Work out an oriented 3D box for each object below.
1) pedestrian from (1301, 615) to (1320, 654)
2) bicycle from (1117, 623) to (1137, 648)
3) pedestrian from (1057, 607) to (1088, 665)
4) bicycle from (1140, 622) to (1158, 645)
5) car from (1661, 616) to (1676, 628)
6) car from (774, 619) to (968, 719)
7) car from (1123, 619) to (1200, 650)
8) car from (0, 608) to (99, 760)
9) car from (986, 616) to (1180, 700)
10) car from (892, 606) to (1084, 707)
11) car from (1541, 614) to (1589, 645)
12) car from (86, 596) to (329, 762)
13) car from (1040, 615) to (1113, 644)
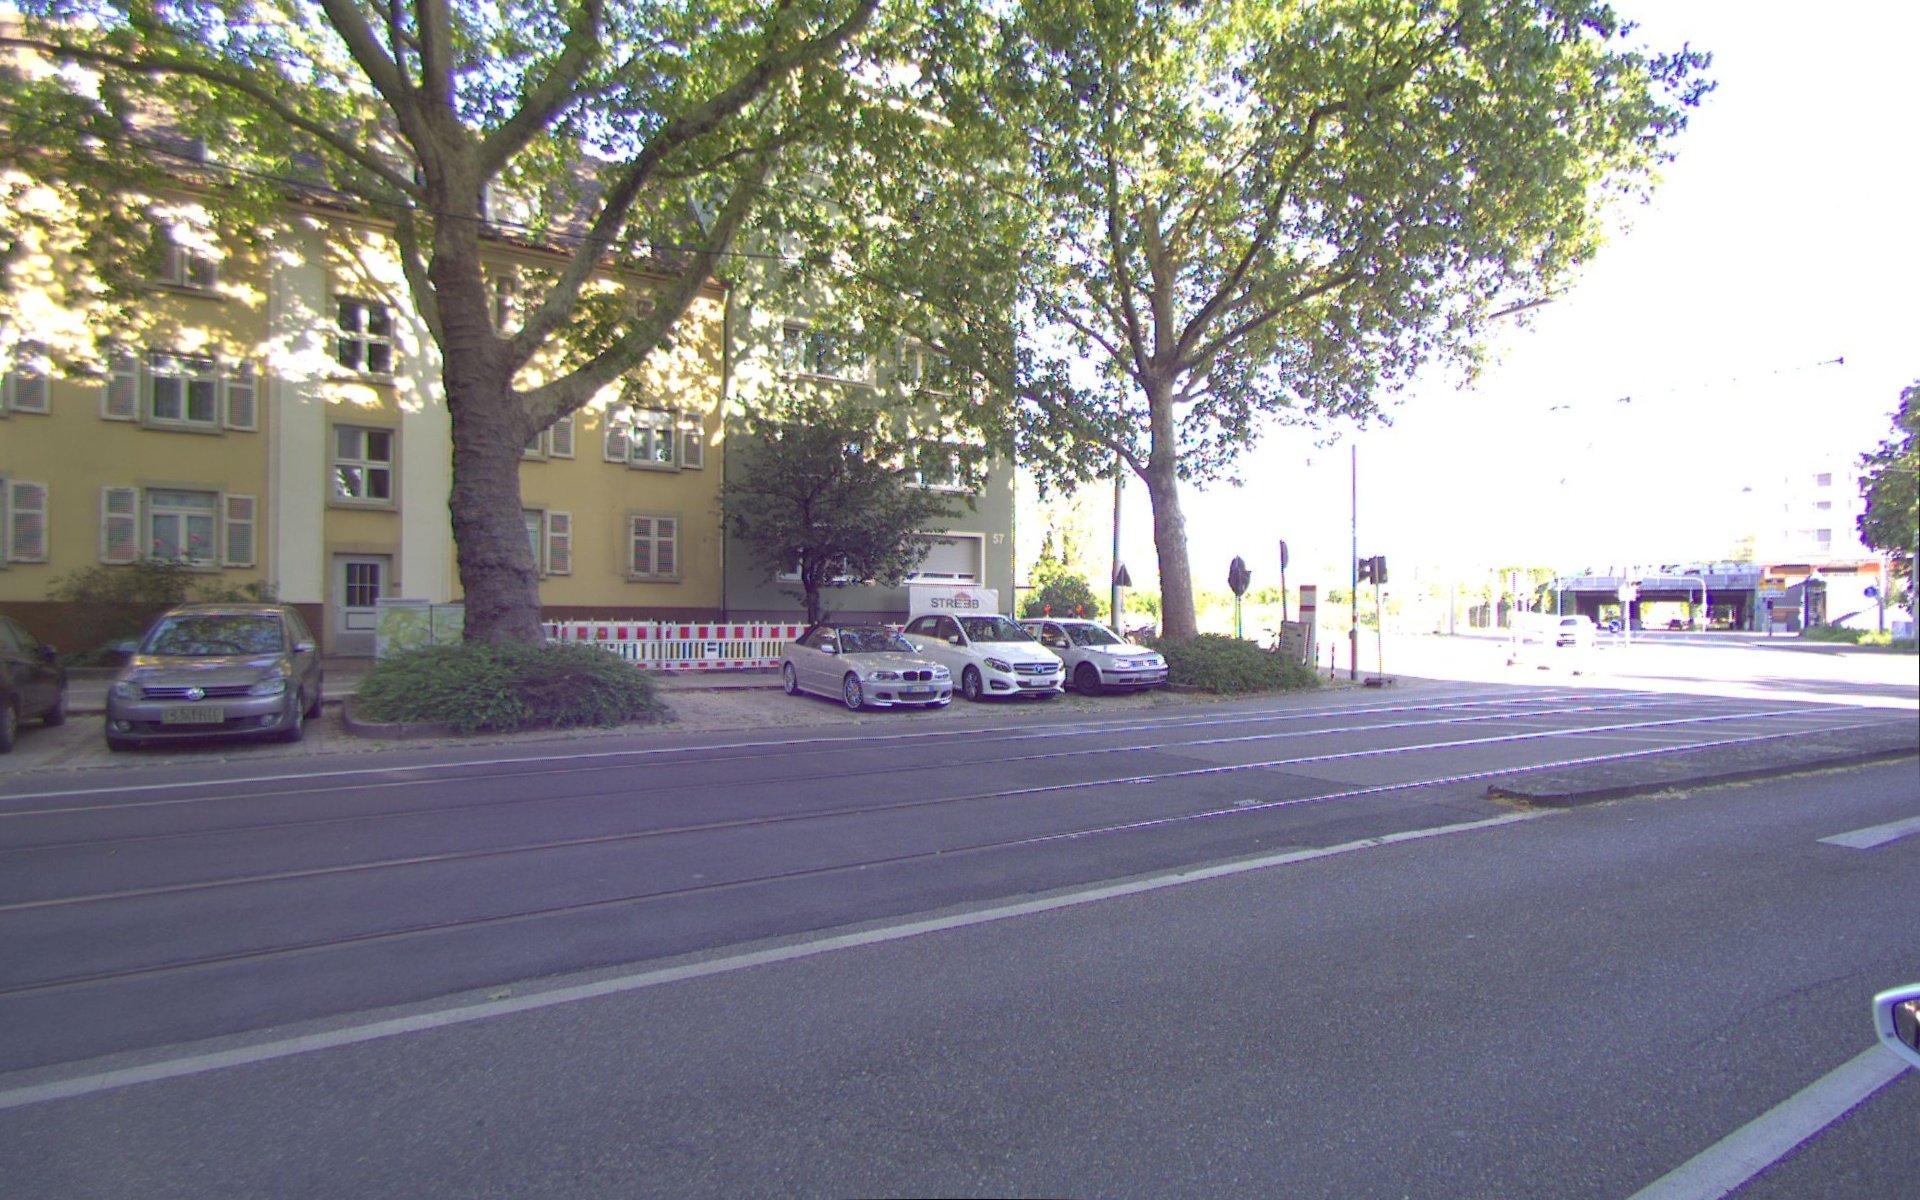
[{"bbox_3d":[15.016,1.476,43.040,0.591,1.617,0.682,2,0,35],"label":"pedestrian"},{"bbox_3d":[5.393,1.127,32.368,0.351,0.769,1.781,0,-1,18],"label":"bicycle"},{"bbox_3d":[3.122,0.990,27.942,0.592,1.589,0.741,0,0,33],"label":"pedestrian"},{"bbox_3d":[6.478,1.133,34.480,0.351,0.769,1.781,0,-1,1],"label":"bicycle"},{"bbox_3d":[127.410,3.948,180.629,1.966,2.040,3.989,2,0,34],"label":"car"},{"bbox_3d":[-1.654,1.090,17.292,1.822,1.387,4.052,2,0,-29],"label":"car"},{"bbox_3d":[11.553,1.959,57.645,3.933,1.439,1.887,0,5,35],"label":"car"},{"bbox_3d":[-11.409,0.866,11.427,1.673,1.466,3.834,2,0,-29],"label":"car"},{"bbox_3d":[2.411,1.119,20.564,1.688,1.436,3.960,2,0,-36],"label":"car"},{"bbox_3d":[0.410,0.987,19.182,1.822,1.633,4.052,2,0,-29],"label":"car"},{"bbox_3d":[33.466,1.609,55.636,1.963,1.653,4.625,0,-1,27],"label":"car"},{"bbox_3d":[-8.973,0.816,12.339,1.822,1.641,4.052,2,0,-29],"label":"car"},{"bbox_3d":[7.055,1.756,61.050,3.933,1.439,1.887,0,5,35],"label":"car"}]
